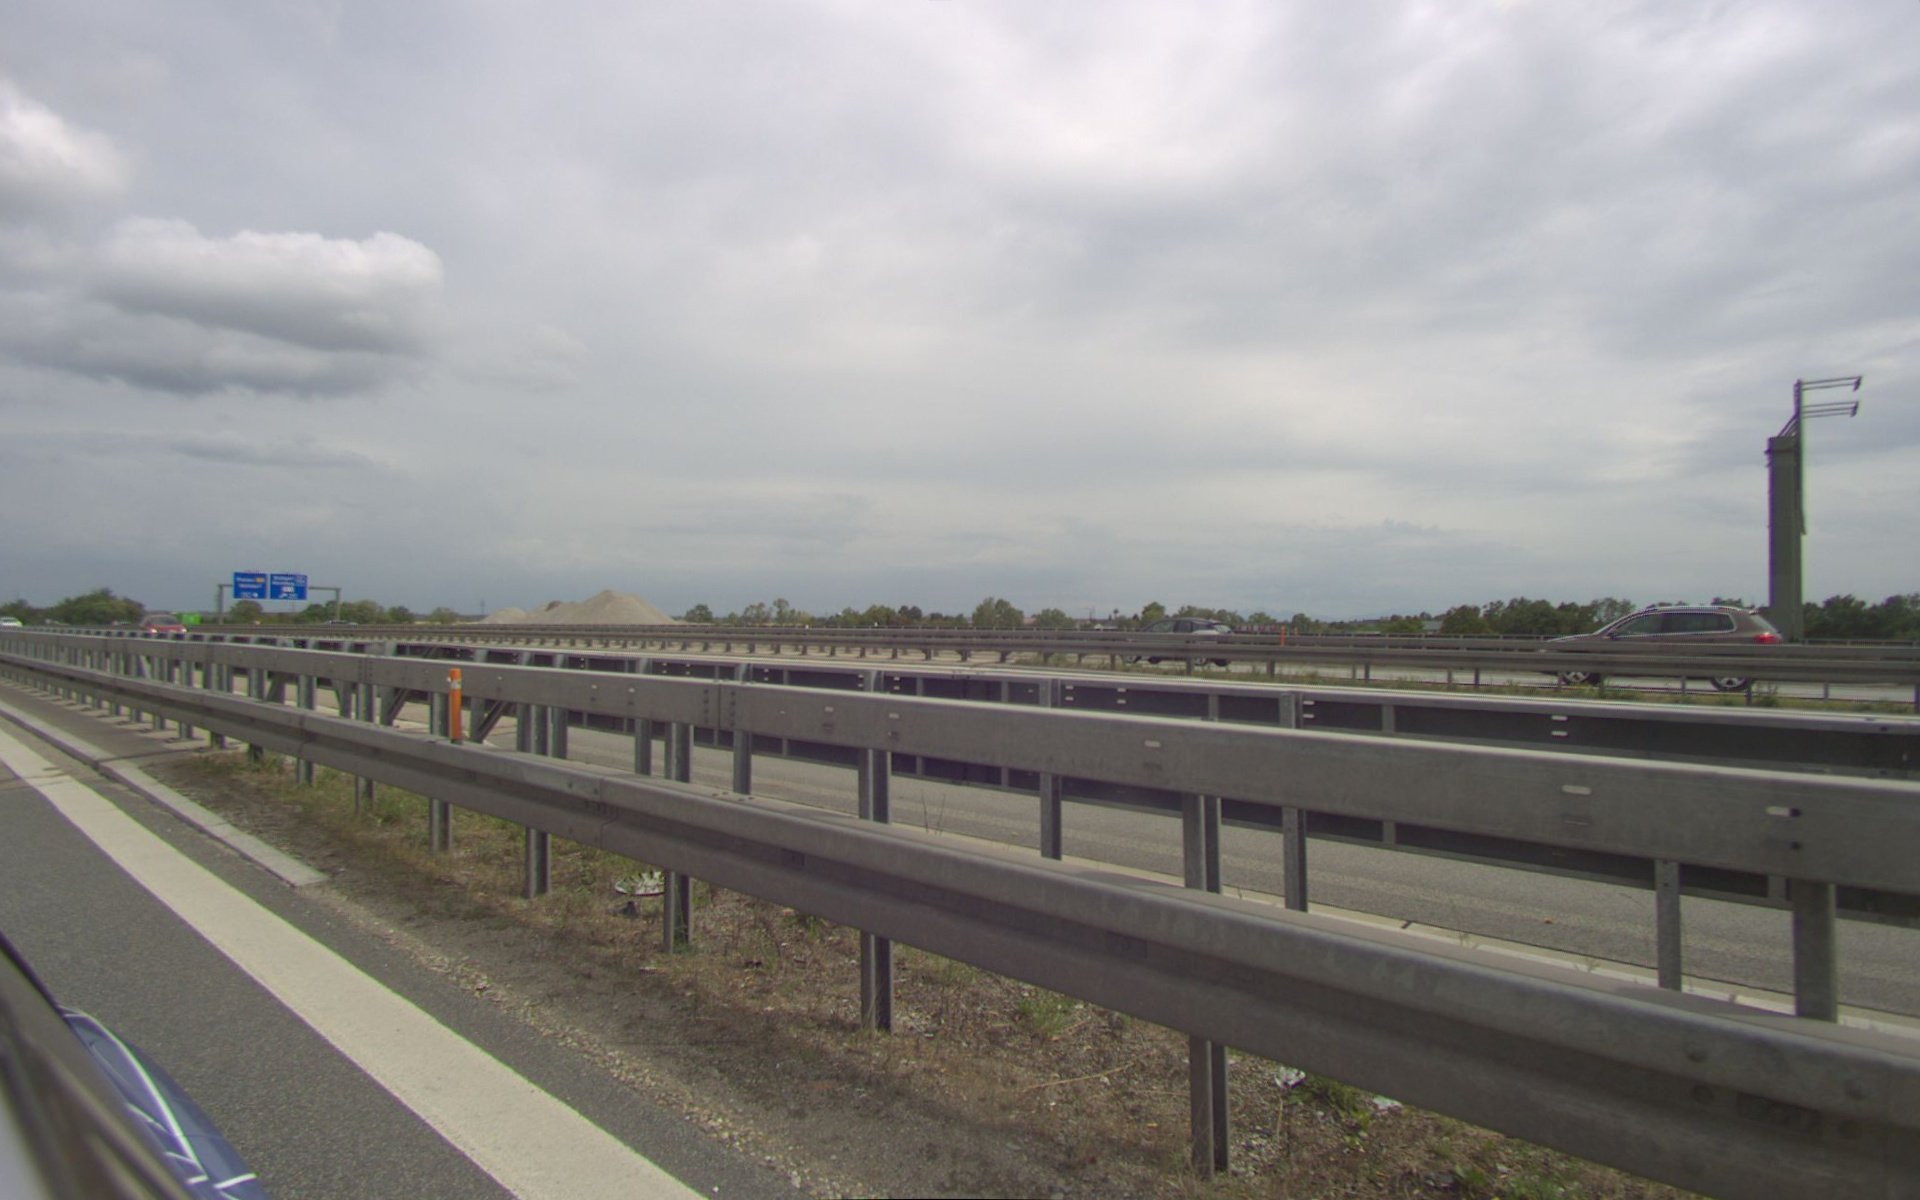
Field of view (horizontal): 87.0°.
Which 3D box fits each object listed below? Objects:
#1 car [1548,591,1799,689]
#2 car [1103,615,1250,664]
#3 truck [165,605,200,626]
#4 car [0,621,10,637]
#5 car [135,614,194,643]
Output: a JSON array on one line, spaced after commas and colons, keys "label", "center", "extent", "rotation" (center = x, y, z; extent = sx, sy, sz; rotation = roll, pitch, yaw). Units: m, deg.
[{"label": "car", "center": [14.585, 0.768, 20.819], "extent": [4.000, 1.807, 1.889], "rotation": [-1, -1, 43]}, {"label": "car", "center": [6.882, 1.227, 32.438], "extent": [4.328, 1.433, 1.687], "rotation": [-1, 0, 41]}, {"label": "truck", "center": [-139.992, 2.825, 182.178], "extent": [10.431, 3.662, 2.982], "rotation": [-1, 0, 41]}, {"label": "car", "center": [-129.100, 3.858, 135.786], "extent": [4.464, 2.029, 1.972], "rotation": [-1, 0, 42]}, {"label": "car", "center": [-45.765, 1.597, 58.186], "extent": [4.351, 1.557, 1.801], "rotation": [-1, 0, 40]}]
